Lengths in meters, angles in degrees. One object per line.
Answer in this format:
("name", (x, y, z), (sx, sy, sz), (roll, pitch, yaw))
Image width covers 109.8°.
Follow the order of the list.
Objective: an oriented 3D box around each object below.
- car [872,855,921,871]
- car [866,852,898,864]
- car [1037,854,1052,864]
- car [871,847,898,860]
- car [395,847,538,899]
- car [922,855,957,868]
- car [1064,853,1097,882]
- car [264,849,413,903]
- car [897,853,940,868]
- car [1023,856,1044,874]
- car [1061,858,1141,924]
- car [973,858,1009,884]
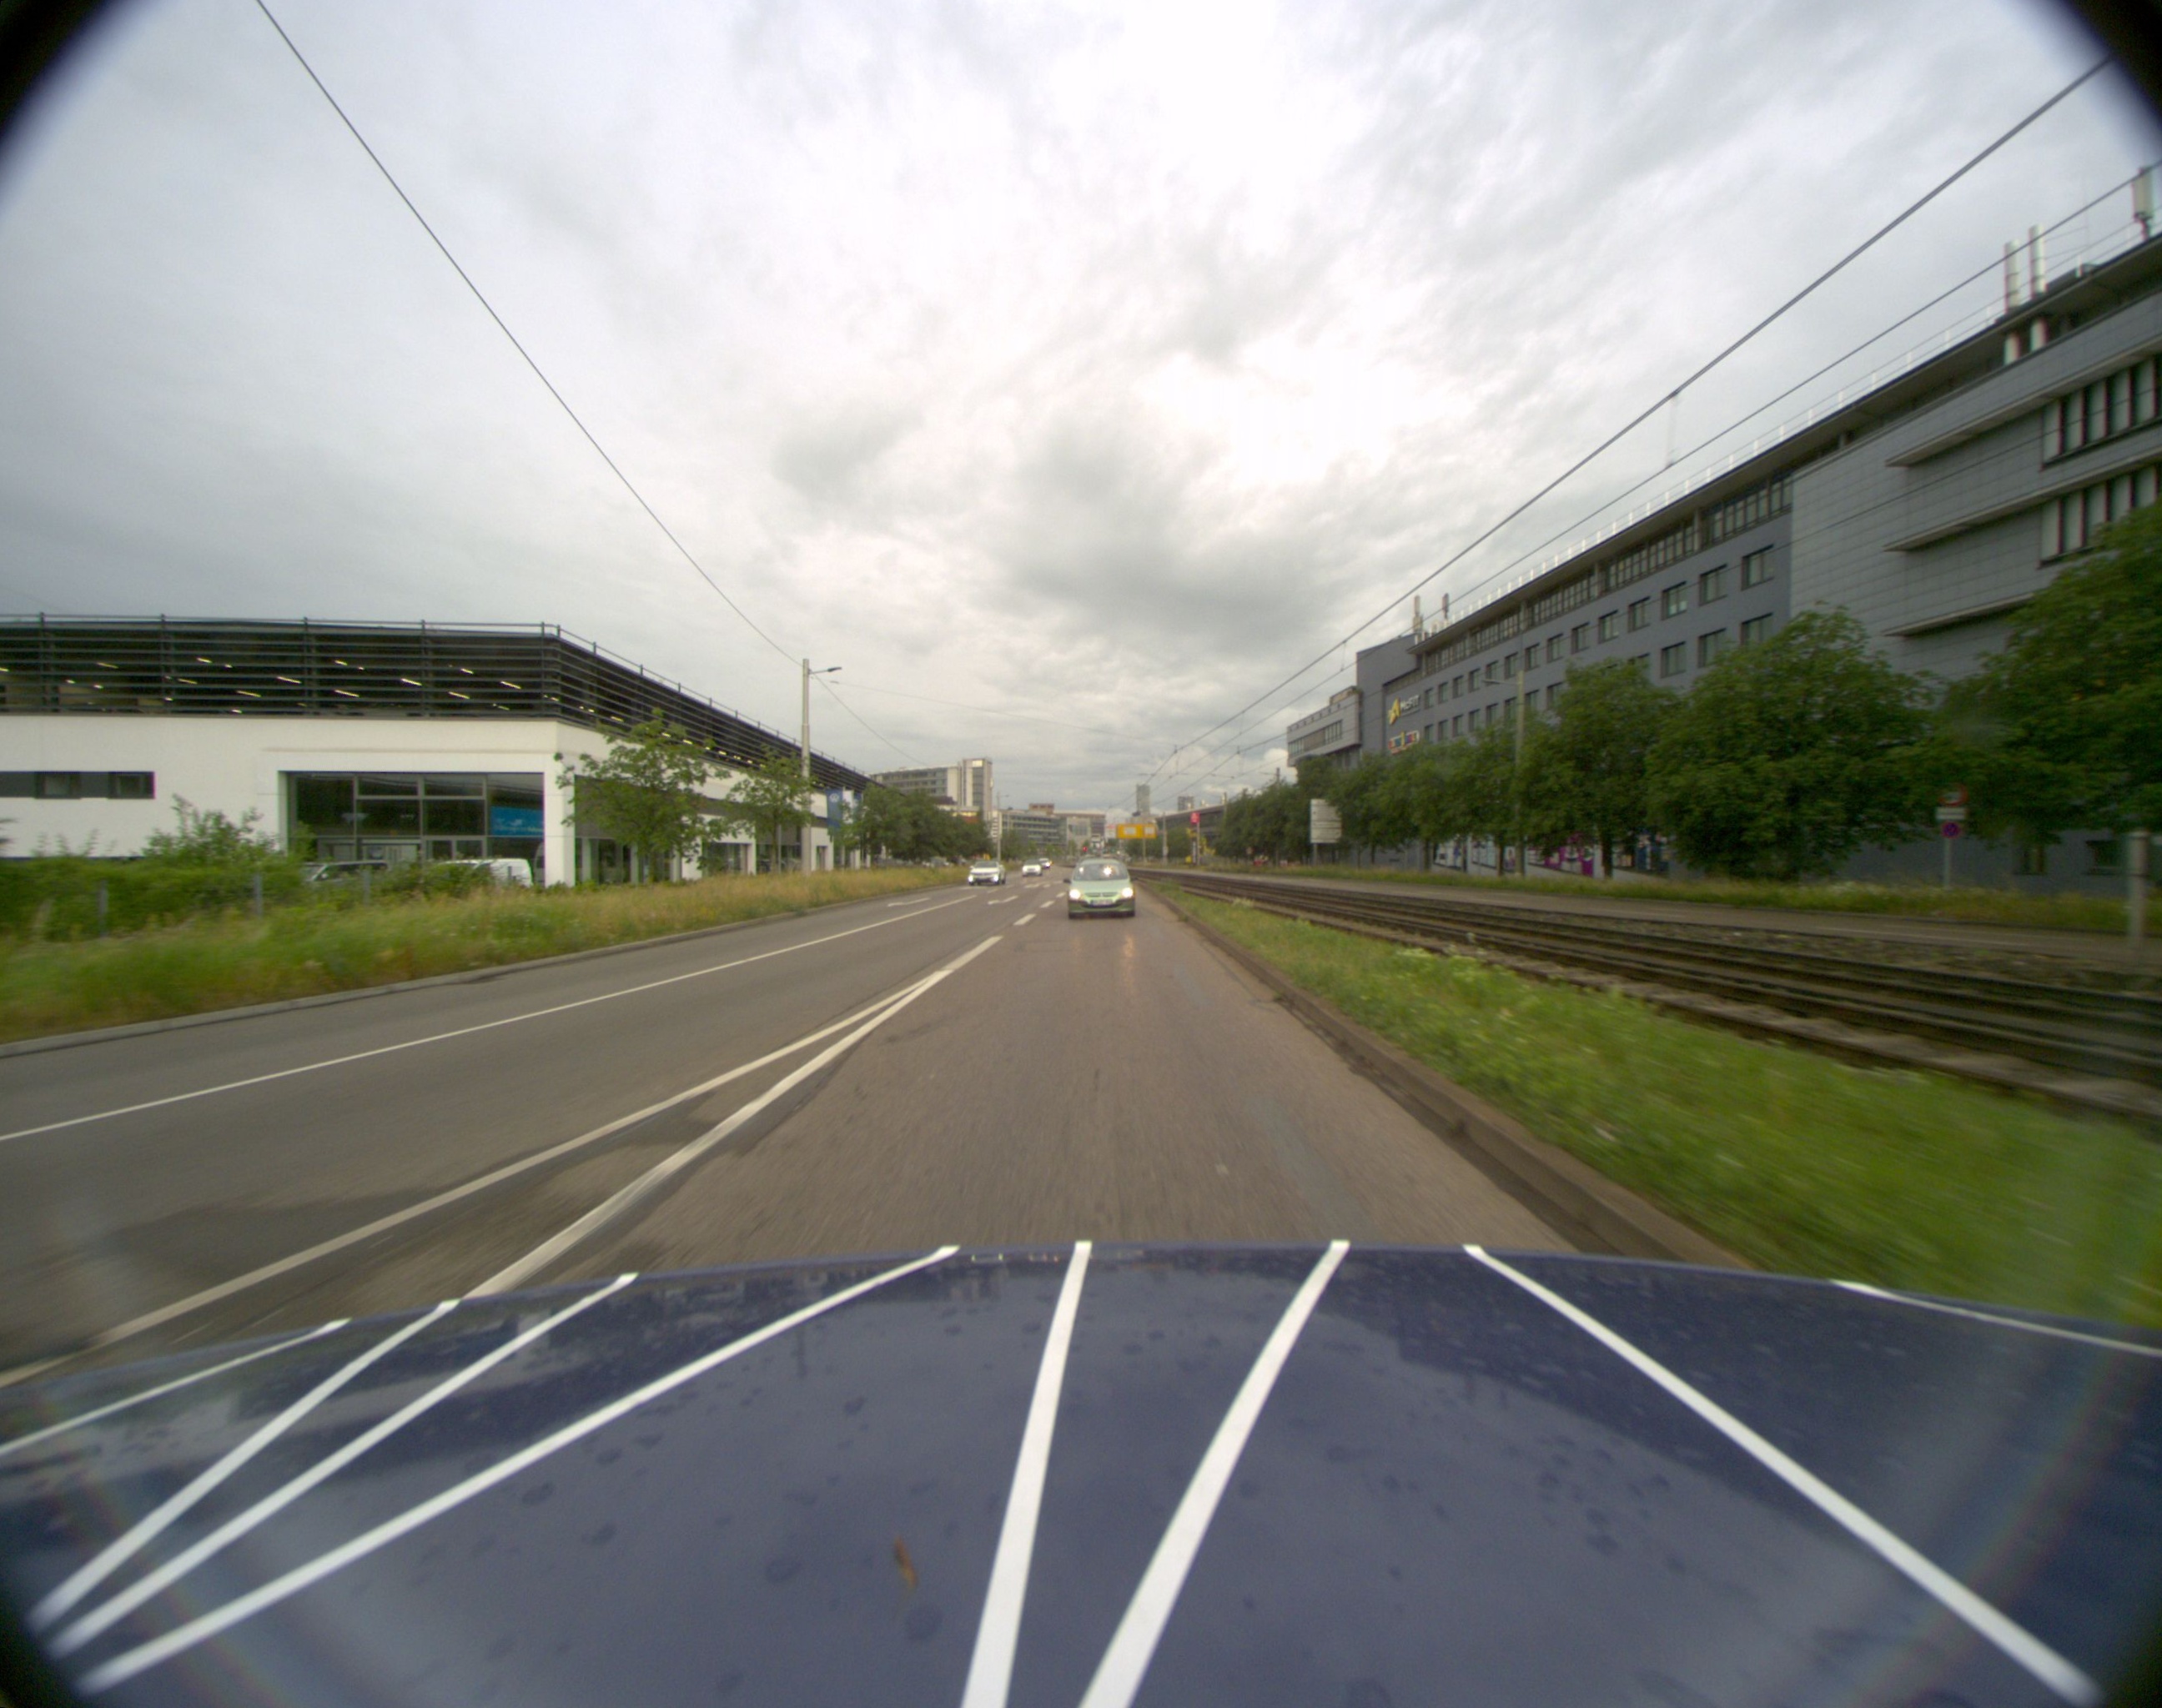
("car", (-19.274, 0.921, 79.398), (4.634, 1.559, 1.847), (1, 1, -33))
("car", (-27.809, 0.593, 106.191), (3.997, 1.499, 1.785), (-3, 1, -1))
("car", (-5.685, 0.780, 119.423), (1.890, 1.584, 3.982), (-1, 0, 2))
("car", (-32.424, -0.092, 125.223), (4.038, 1.964, 1.944), (0, 1, -4))
("car", (-25.759, 0.727, 32.172), (2.049, 2.002, 5.089), (-2, 0, -3))
("car", (-18.222, 1.005, 97.832), (4.108, 1.560, 1.794), (0, 2, -40))
("car", (-0.080, 0.776, 44.778), (1.762, 1.535, 3.713), (-3, 1, -2))
("car", (-31.593, 0.858, 32.580), (1.951, 2.039, 4.704), (-3, 1, -5))
("car", (-18.520, 0.774, 86.576), (4.363, 1.617, 1.851), (1, 1, -33))
("car", (-4.390, 1.023, 71.182), (1.819, 1.584, 3.835), (-1, 0, -2))
("car", (0.441, 0.916, 20.803), (1.762, 1.489, 4.135), (-3, 1, -3))
("car", (-5.499, 1.001, 46.768), (1.879, 1.485, 3.835), (-1, 0, -2))
